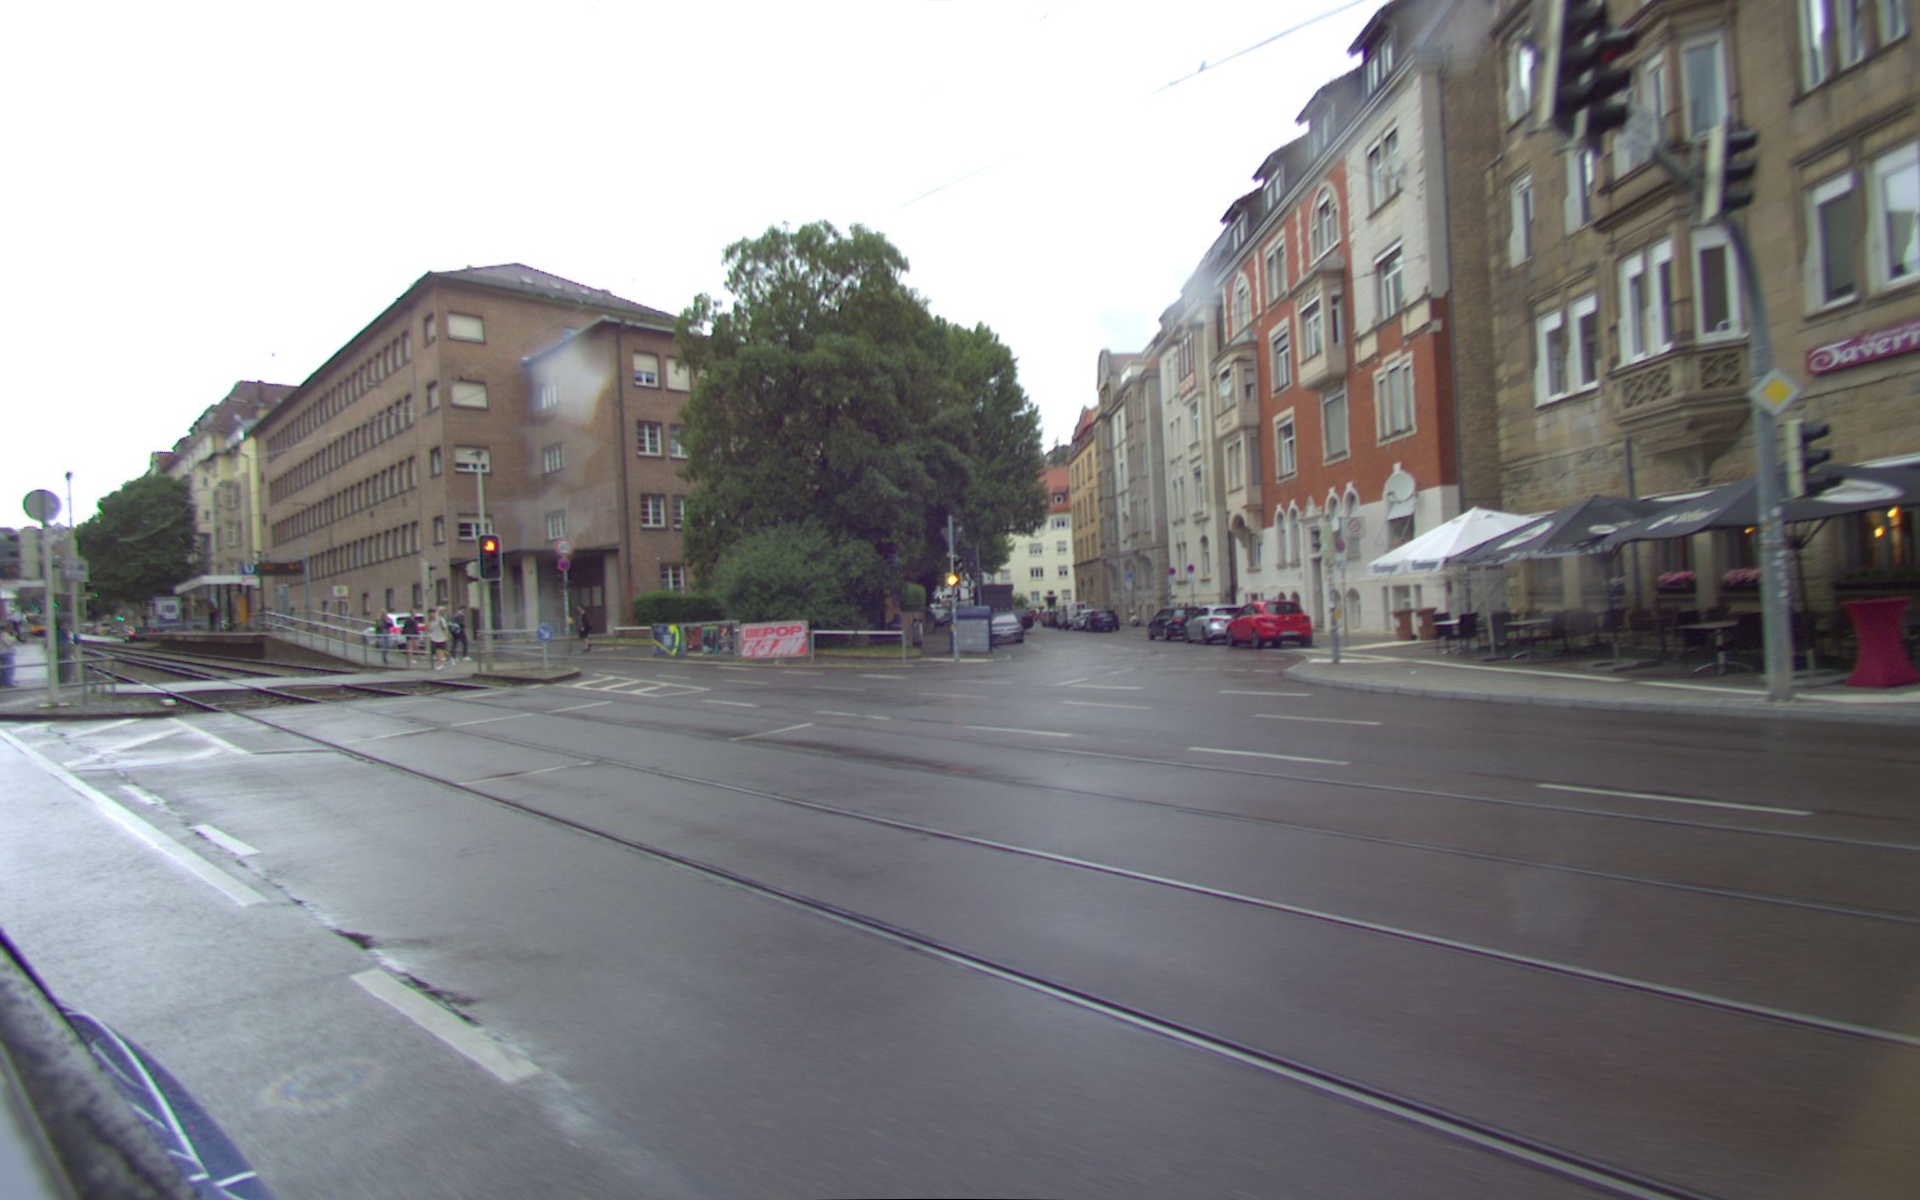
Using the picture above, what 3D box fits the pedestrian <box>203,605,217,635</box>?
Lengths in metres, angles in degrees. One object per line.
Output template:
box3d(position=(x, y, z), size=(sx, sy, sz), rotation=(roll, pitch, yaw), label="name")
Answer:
box3d(position=(-43.578, 1.161, 58.813), size=(0.492, 1.722, 0.580), rotation=(-2, -2, 45), label="pedestrian")

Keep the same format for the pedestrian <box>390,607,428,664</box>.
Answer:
box3d(position=(-16.998, 1.082, 31.210), size=(0.883, 1.709, 0.735), rotation=(-2, 1, 45), label="pedestrian")

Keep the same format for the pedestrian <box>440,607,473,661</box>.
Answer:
box3d(position=(-15.846, 1.060, 31.832), size=(0.649, 1.663, 0.756), rotation=(-2, -2, 45), label="pedestrian")

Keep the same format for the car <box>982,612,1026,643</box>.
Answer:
box3d(position=(2.088, 1.297, 48.769), size=(1.717, 1.413, 4.002), rotation=(-1, -1, -3), label="car")

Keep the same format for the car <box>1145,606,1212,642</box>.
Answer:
box3d(position=(9.183, 1.007, 42.845), size=(1.717, 1.413, 4.146), rotation=(-1, -1, -3), label="car")

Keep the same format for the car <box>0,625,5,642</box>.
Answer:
box3d(position=(-111.271, 3.847, 116.367), size=(4.000, 1.918, 1.781), rotation=(-2, -2, 43), label="car")

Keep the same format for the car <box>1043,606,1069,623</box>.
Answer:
box3d(position=(8.159, 1.223, 86.393), size=(1.717, 1.413, 3.702), rotation=(-1, -1, -2), label="car")

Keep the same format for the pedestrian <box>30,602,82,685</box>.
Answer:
box3d(position=(-22.986, 1.095, 25.726), size=(0.886, 2.029, 0.948), rotation=(-2, 0, -44), label="pedestrian")

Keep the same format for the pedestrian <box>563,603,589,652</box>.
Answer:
box3d(position=(-13.383, 0.943, 35.301), size=(0.688, 1.688, 0.597), rotation=(-2, -2, 43), label="pedestrian")

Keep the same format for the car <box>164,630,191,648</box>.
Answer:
box3d(position=(-72.497, 3.586, 93.722), size=(1.625, 1.593, 4.343), rotation=(-2, 0, -42), label="car")

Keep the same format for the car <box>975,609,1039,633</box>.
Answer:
box3d(position=(3.010, 1.345, 65.262), size=(3.943, 1.489, 1.742), rotation=(-1, -1, 0), label="car")

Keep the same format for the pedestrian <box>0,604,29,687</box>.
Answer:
box3d(position=(-24.025, 1.133, 25.098), size=(0.916, 2.029, 0.947), rotation=(-2, 0, 1), label="pedestrian")

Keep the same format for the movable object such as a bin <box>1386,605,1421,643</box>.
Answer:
box3d(position=(12.676, 0.683, 28.922), size=(0.709, 1.050, 0.552), rotation=(-1, -1, -13), label="movable object such as a bin")

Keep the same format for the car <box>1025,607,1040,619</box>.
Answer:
box3d(position=(8.377, 1.490, 116.644), size=(1.550, 1.413, 3.698), rotation=(-1, -1, 2), label="car")

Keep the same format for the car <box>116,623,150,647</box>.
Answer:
box3d(position=(-72.310, 3.048, 88.438), size=(1.970, 2.029, 4.003), rotation=(1, -2, -44), label="car")

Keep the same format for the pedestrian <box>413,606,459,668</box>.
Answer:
box3d(position=(-13.791, 0.957, 26.654), size=(0.685, 1.595, 0.956), rotation=(-2, -1, 1), label="pedestrian")

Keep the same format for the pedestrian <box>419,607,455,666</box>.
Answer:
box3d(position=(-15.481, 1.064, 29.948), size=(0.735, 1.659, 0.641), rotation=(-4, 4, -44), label="pedestrian")

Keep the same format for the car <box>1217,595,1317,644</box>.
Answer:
box3d(position=(9.529, 0.610, 31.726), size=(1.717, 1.413, 4.002), rotation=(-1, -1, -3), label="car")

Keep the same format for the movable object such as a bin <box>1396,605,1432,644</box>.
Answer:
box3d(position=(12.695, 0.680, 28.314), size=(0.709, 1.050, 0.552), rotation=(-1, -1, -13), label="movable object such as a bin")

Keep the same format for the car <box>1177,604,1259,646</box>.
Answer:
box3d(position=(9.299, 0.888, 36.827), size=(1.717, 1.413, 4.170), rotation=(-1, -1, -3), label="car")

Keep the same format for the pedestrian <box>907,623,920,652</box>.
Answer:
box3d(position=(-1.750, 1.415, 38.191), size=(0.411, 1.093, 0.283), rotation=(-1, -1, -20), label="pedestrian")

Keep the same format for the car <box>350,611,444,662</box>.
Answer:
box3d(position=(-23.165, 1.443, 41.543), size=(1.971, 1.640, 5.257), rotation=(1, 2, -45), label="car")

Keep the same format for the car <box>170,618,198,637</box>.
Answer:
box3d(position=(-66.913, 2.386, 87.225), size=(1.625, 1.477, 3.114), rotation=(-2, 0, -42), label="car")

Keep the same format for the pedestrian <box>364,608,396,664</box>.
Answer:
box3d(position=(-18.385, 1.123, 32.093), size=(0.689, 1.711, 0.657), rotation=(-1, 2, 43), label="pedestrian")

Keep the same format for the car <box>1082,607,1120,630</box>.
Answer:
box3d(position=(9.109, 1.189, 65.740), size=(1.717, 1.413, 4.002), rotation=(-1, -1, -3), label="car")

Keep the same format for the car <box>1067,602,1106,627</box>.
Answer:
box3d(position=(8.882, 1.023, 71.144), size=(1.970, 1.643, 4.003), rotation=(-1, -1, -3), label="car")

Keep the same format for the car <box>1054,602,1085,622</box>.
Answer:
box3d(position=(8.309, 0.910, 77.208), size=(1.717, 1.413, 4.002), rotation=(-1, -1, -3), label="car")

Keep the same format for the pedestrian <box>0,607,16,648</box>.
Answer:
box3d(position=(-42.732, 1.250, 44.930), size=(1.101, 1.788, 1.112), rotation=(-3, 0, -44), label="pedestrian")

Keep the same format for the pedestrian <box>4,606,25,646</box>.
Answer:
box3d(position=(-43.946, 1.201, 47.021), size=(0.636, 1.788, 0.711), rotation=(-2, 0, -44), label="pedestrian")
